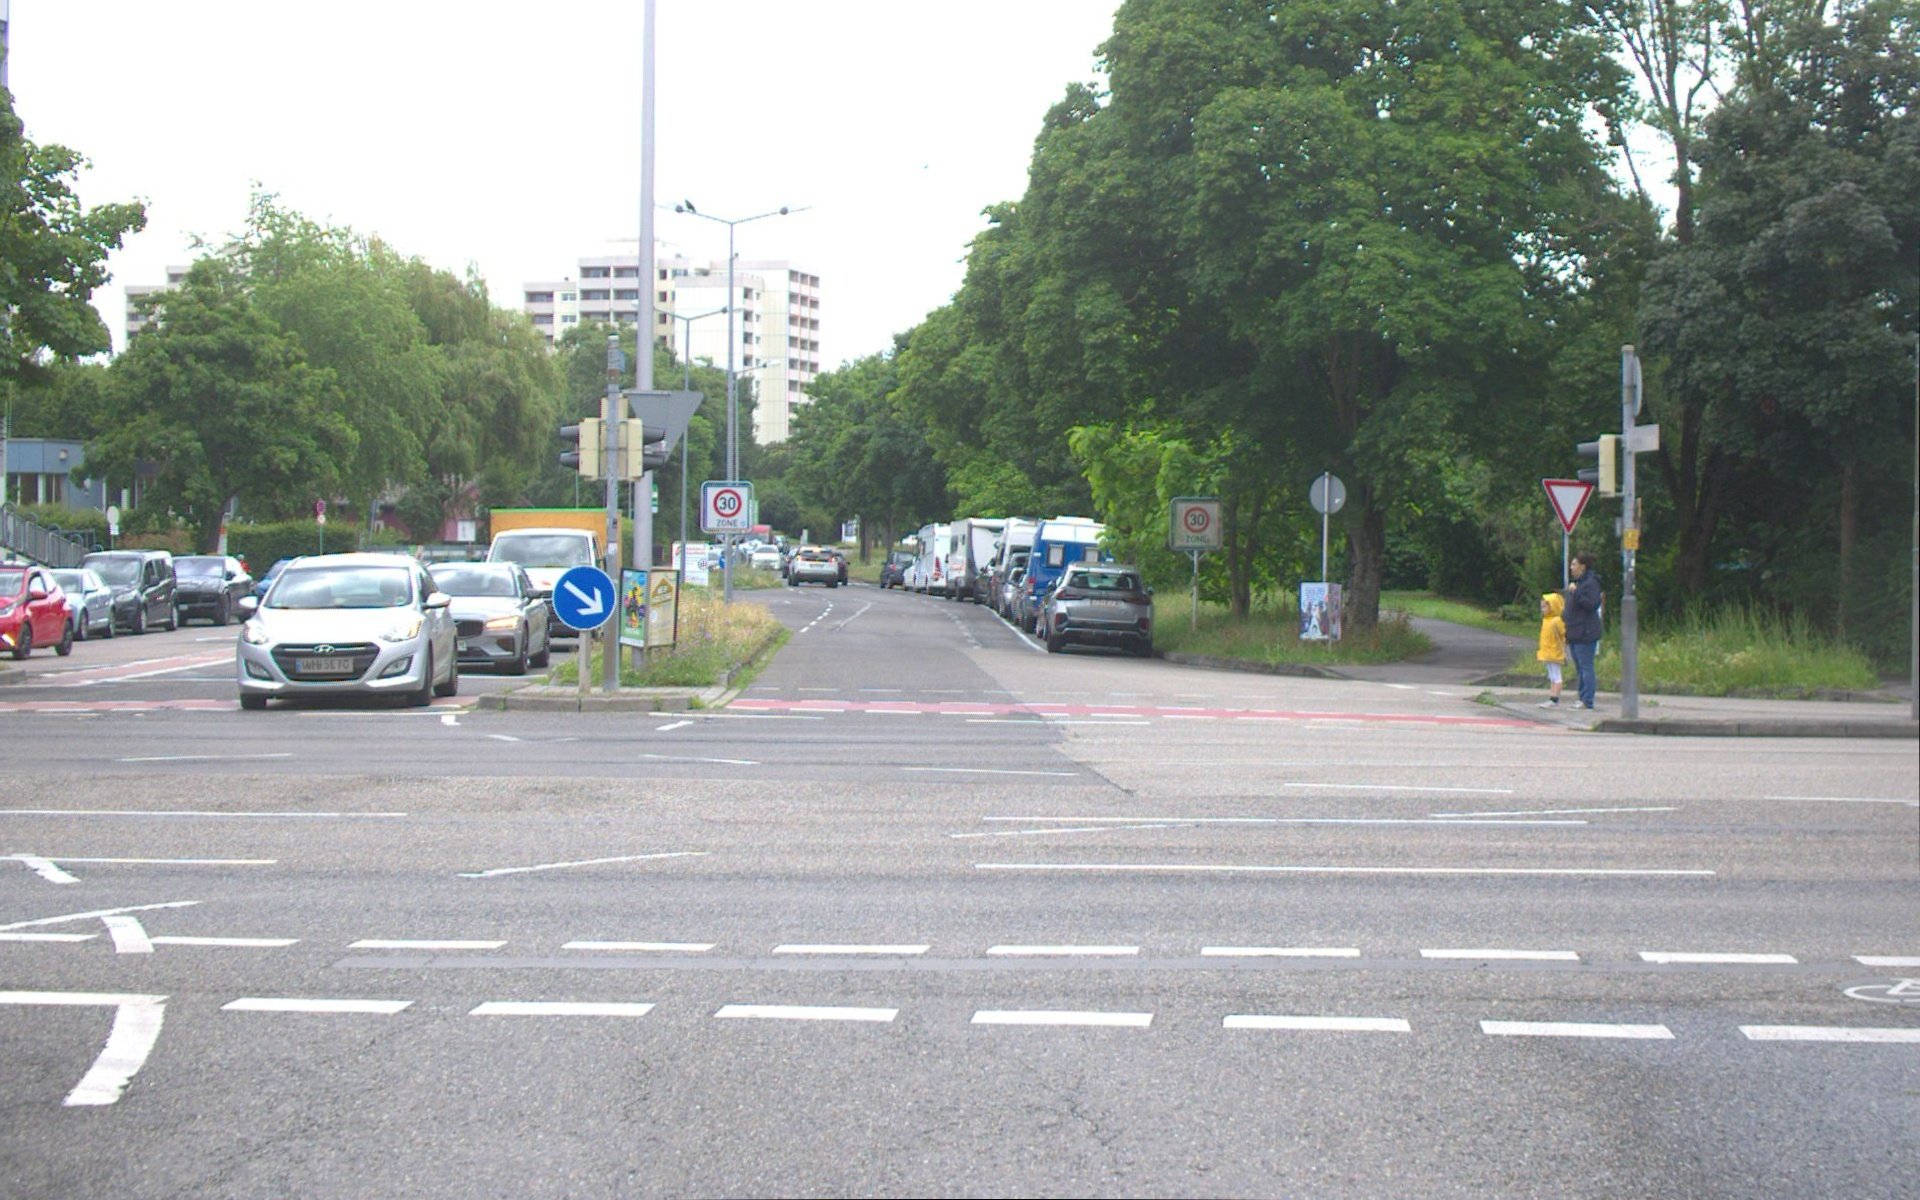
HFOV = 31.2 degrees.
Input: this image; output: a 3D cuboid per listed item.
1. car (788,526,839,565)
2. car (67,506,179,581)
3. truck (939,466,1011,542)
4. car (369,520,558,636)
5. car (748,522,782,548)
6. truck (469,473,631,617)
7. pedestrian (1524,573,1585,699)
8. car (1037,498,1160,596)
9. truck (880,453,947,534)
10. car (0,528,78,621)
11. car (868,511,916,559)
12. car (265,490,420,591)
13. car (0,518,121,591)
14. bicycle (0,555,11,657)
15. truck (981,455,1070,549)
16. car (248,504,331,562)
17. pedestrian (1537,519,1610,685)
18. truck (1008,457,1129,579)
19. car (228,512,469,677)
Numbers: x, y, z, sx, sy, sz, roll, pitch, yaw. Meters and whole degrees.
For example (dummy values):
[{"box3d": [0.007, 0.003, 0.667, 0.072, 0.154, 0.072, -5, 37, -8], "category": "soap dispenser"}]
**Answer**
[{"box3d": [-6.052, -2.255, 141.311, 2.020, 1.500, 4.001, 0, 2, -3], "category": "car"}, {"box3d": [-18.110, -1.241, 74.513, 1.671, 1.546, 3.763, 0, 2, -2], "category": "car"}, {"box3d": [0.505, -3.293, 119.071, 1.993, 2.564, 5.379, 0, 1, -5], "category": "truck"}, {"box3d": [-6.470, -0.332, 45.223, 1.896, 1.415, 4.737, 1, 1, -1], "category": "car"}, {"box3d": [-11.843, -3.935, 208.689, 2.020, 1.500, 4.001, 0, 2, -3], "category": "car"}, {"box3d": [-6.534, -0.927, 55.395, 2.155, 2.191, 5.841, 0, 2, -3], "category": "truck"}, {"box3d": [6.397, 0.380, 37.035, 0.526, 1.337, 0.525, 0, 2, -3], "category": "pedestrian"}, {"box3d": [2.413, -0.965, 60.905, 1.783, 1.656, 4.001, 0, 2, -3], "category": "car"}, {"box3d": [-1.769, -3.993, 129.759, 1.993, 2.998, 5.773, 0, 1, -6], "category": "truck"}, {"box3d": [-14.909, -0.420, 53.357, 1.512, 1.385, 3.533, 0, 1, 0], "category": "car"}, {"box3d": [-2.895, -2.776, 145.700, 1.651, 1.911, 3.920, 0, 2, -7], "category": "car"}, {"box3d": [-9.369, -0.932, 52.423, 1.770, 1.472, 4.390, 0, 2, -3], "category": "car"}, {"box3d": [-18.131, -0.931, 69.184, 1.671, 1.382, 3.896, 0, 2, -2], "category": "car"}, {"box3d": [-10.792, 0.088, 36.846, 0.726, 1.097, 2.265, 0, 2, -3], "category": "bicycle"}, {"box3d": [1.994, -3.050, 107.054, 1.993, 2.828, 5.733, 0, 2, -7], "category": "truck"}, {"box3d": [-18.464, -1.860, 94.835, 1.671, 1.546, 4.001, 0, 2, -2], "category": "car"}, {"box3d": [6.503, 0.016, 36.467, 0.657, 1.744, 0.459, 0, 2, -3], "category": "pedestrian"}, {"box3d": [2.394, -1.846, 77.707, 2.174, 2.647, 6.247, 0, 1, -3], "category": "truck"}, {"box3d": [-5.910, -0.063, 33.684, 1.789, 1.514, 4.326, 0, 0, -3], "category": "car"}]
